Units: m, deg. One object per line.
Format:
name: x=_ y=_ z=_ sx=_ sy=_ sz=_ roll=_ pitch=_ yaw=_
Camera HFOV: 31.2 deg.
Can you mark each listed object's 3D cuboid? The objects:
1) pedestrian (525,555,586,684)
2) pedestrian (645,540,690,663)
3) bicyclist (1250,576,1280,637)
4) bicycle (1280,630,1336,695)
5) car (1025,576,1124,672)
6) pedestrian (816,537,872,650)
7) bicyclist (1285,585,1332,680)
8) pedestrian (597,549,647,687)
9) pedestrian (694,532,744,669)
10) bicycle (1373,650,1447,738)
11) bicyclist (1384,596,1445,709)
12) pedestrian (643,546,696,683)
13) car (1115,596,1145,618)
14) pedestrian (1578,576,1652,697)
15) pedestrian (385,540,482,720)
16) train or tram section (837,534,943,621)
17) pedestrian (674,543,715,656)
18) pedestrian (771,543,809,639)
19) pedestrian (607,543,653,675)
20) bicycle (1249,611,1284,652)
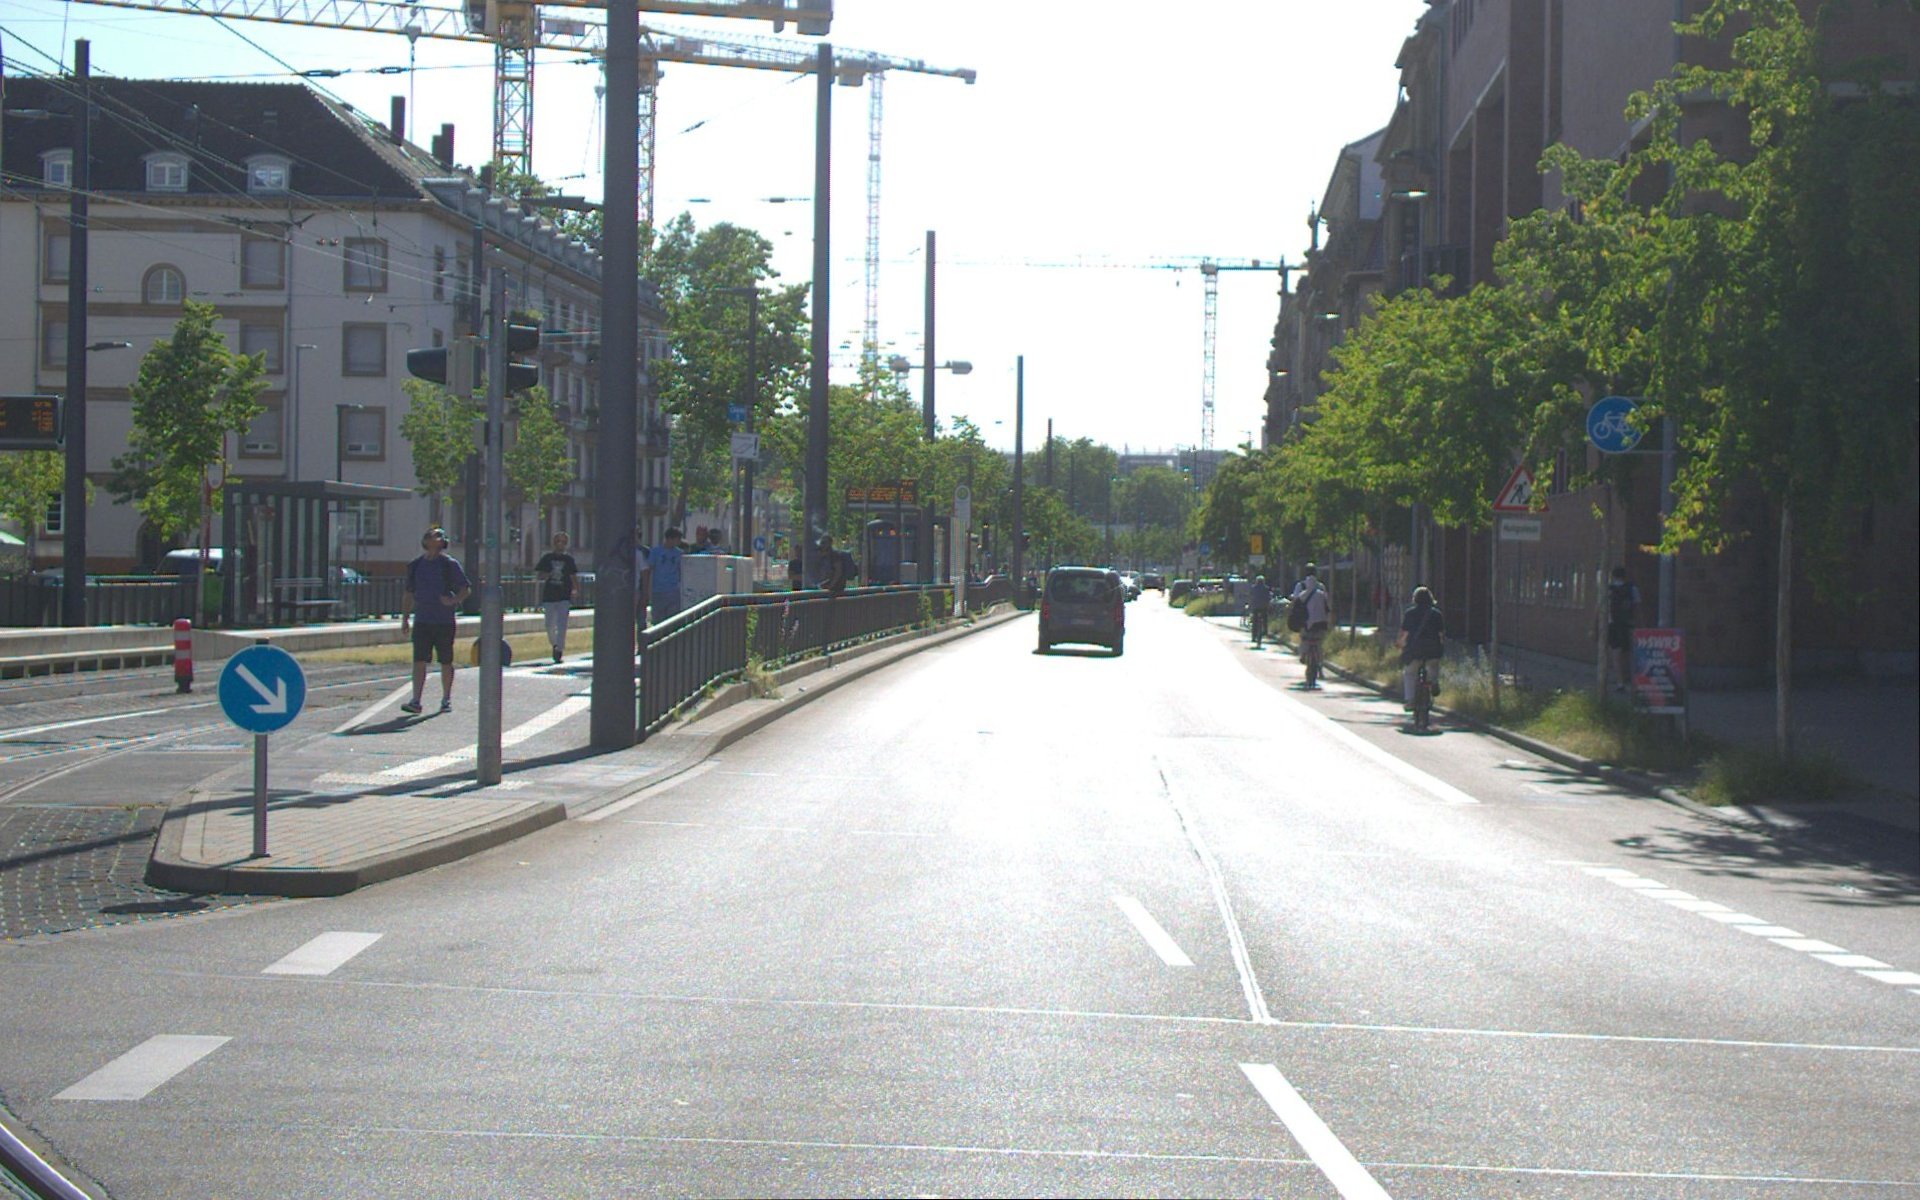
pedestrian: x=-4.953 y=0.235 z=42.117 sx=0.600 sy=1.561 sz=0.914 roll=1 pitch=0 yaw=1
pedestrian: x=-3.719 y=0.021 z=43.773 sx=0.518 sy=1.546 sz=0.601 roll=1 pitch=0 yaw=-2
bicyclist: x=7.725 y=0.162 z=87.031 sx=0.667 sy=1.521 sz=0.707 roll=1 pitch=0 yaw=1
bicycle: x=5.683 y=1.014 z=56.234 sx=0.667 sy=0.982 sz=2.586 roll=1 pitch=0 yaw=1
car: x=2.395 y=0.490 z=72.701 sx=1.993 sy=1.941 sz=4.000 roll=1 pitch=0 yaw=1
pedestrian: x=-1.781 y=-0.103 z=52.868 sx=0.716 sy=1.729 sz=0.602 roll=1 pitch=0 yaw=-16
bicyclist: x=5.687 y=0.527 z=56.132 sx=0.667 sy=1.521 sz=0.707 roll=1 pitch=0 yaw=1
pedestrian: x=-4.098 y=0.210 z=41.711 sx=0.510 sy=1.649 sz=0.761 roll=1 pitch=0 yaw=1
pedestrian: x=-2.948 y=0.005 z=42.120 sx=0.538 sy=1.649 sz=0.706 roll=1 pitch=0 yaw=1
bicycle: x=5.491 y=1.135 z=42.040 sx=0.603 sy=0.982 sz=2.314 roll=1 pitch=0 yaw=1
bicyclist: x=5.478 y=0.629 z=41.490 sx=0.592 sy=1.331 sz=0.933 roll=1 pitch=0 yaw=1
pedestrian: x=-3.544 y=0.177 z=41.962 sx=0.538 sy=1.649 sz=0.896 roll=1 pitch=0 yaw=1
car: x=11.311 y=0.478 z=229.074 sx=1.994 sy=1.415 sz=4.000 roll=1 pitch=1 yaw=2
pedestrian: x=9.427 y=0.512 z=49.493 sx=0.880 sy=1.711 sz=0.931 roll=1 pitch=0 yaw=1
pedestrian: x=-4.970 y=0.274 z=32.495 sx=0.614 sy=1.663 sz=0.864 roll=-2 pitch=1 yaw=9
train or tram section: x=-2.528 y=-0.866 z=128.698 sx=2.327 sy=2.993 sz=13.157 roll=2 pitch=1 yaw=6
pedestrian: x=-3.913 y=-0.003 z=50.708 sx=0.538 sy=1.649 sz=0.633 roll=1 pitch=0 yaw=1
pedestrian: x=-2.973 y=-0.157 z=60.194 sx=0.600 sy=1.649 sz=0.666 roll=1 pitch=0 yaw=1
pedestrian: x=-4.457 y=0.119 z=46.476 sx=0.538 sy=1.767 sz=0.633 roll=1 pitch=0 yaw=1
bicycle: x=7.733 y=0.799 z=86.925 sx=0.667 sy=0.982 sz=2.586 roll=1 pitch=0 yaw=1
